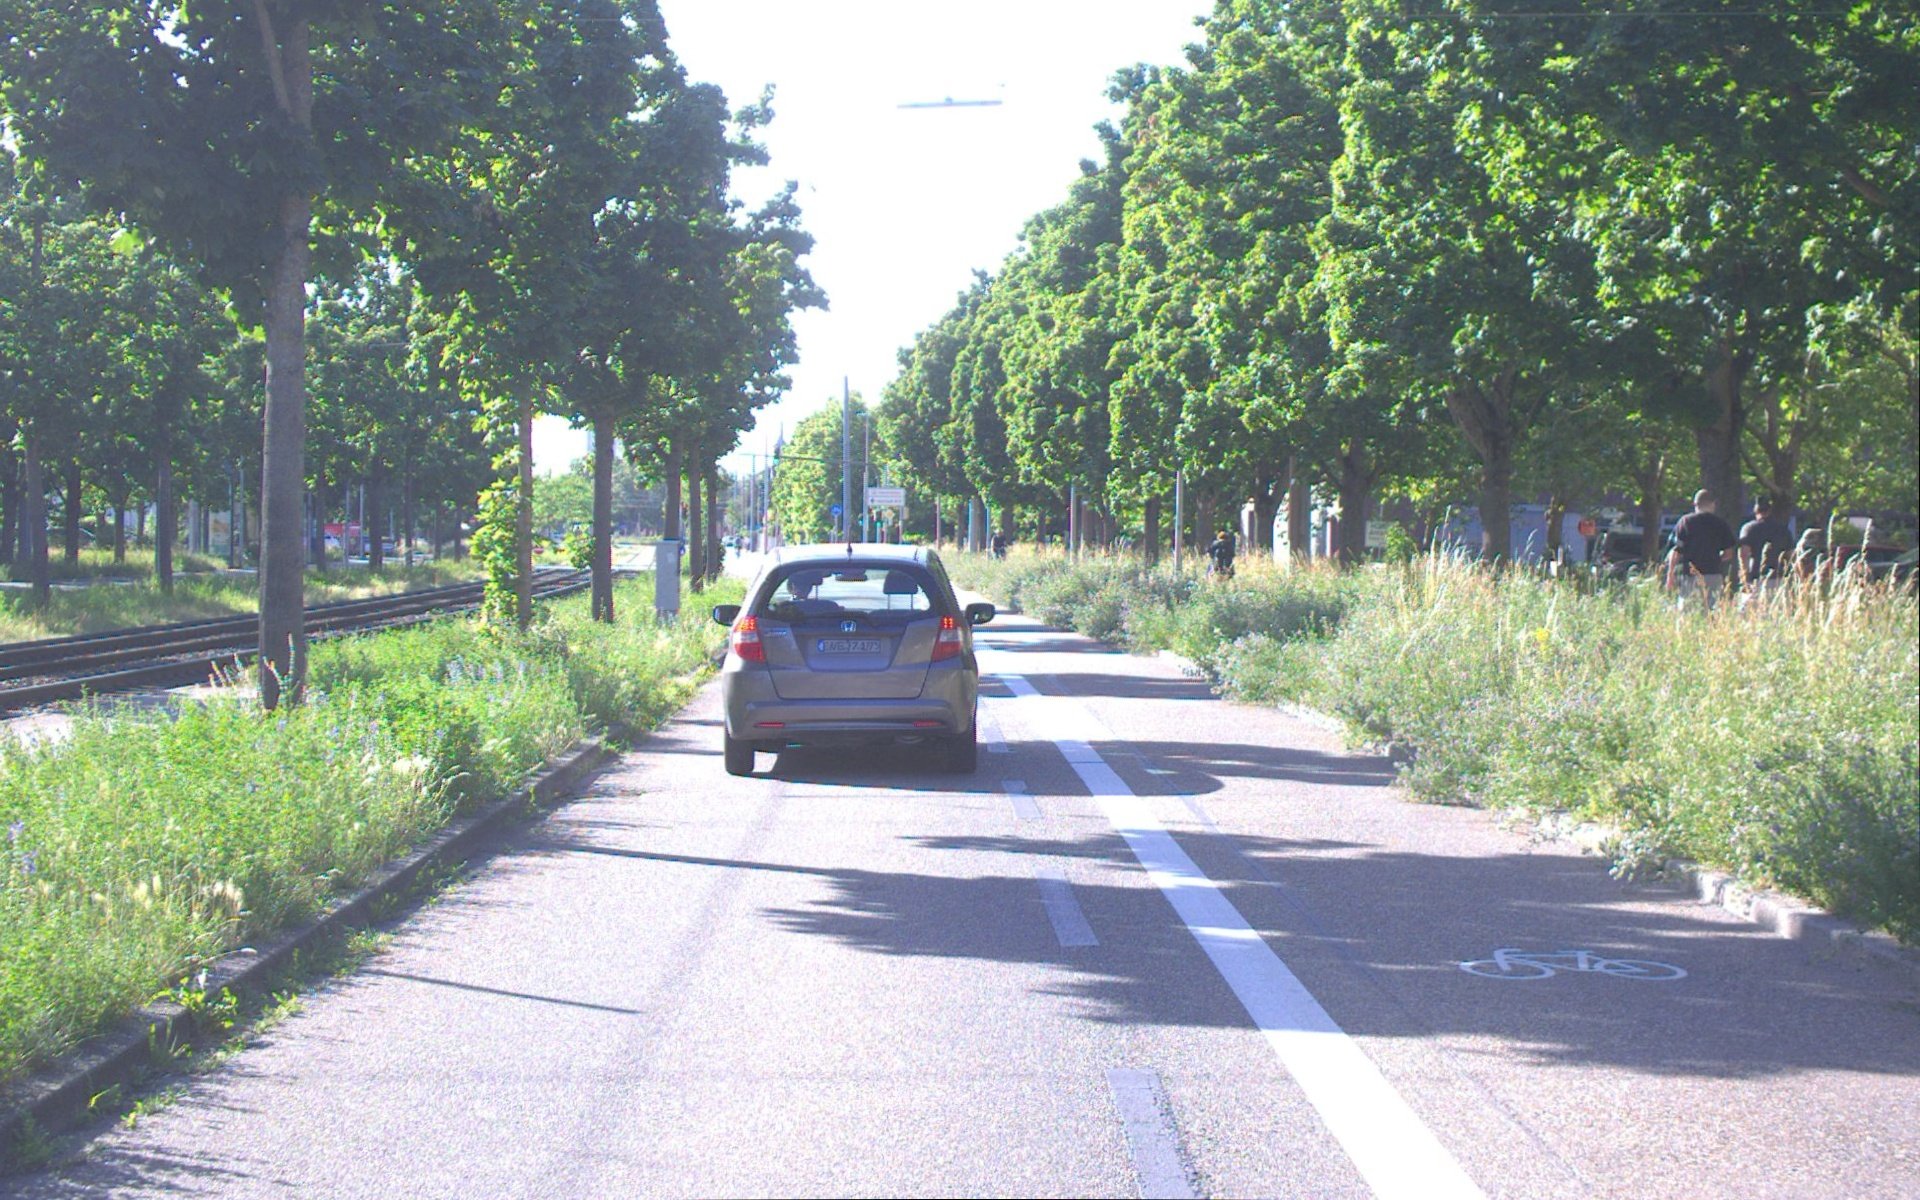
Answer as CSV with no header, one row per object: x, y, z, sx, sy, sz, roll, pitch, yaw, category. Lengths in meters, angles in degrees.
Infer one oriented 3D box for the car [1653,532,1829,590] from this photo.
20.297,-1.024,89.479,4.165,1.427,1.824,1,1,1,car

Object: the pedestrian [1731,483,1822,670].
8.558,-0.246,36.052,0.708,1.924,0.817,1,1,0,pedestrian

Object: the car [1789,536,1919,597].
21.176,-0.769,78.023,4.293,1.319,1.940,0,2,3,car

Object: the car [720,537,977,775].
-0.785,0.325,23.618,1.624,1.494,3.457,-1,1,-3,car

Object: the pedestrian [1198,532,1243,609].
5.383,-0.606,71.098,0.824,1.563,0.762,1,1,-1,pedestrian

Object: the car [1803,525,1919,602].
20.305,-0.768,72.792,4.391,1.591,1.884,1,1,-5,car

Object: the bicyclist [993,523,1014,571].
1.574,-1.927,125.137,0.683,1.714,0.902,1,0,-4,bicyclist

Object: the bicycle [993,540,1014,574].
1.563,-1.556,125.024,0.483,1.200,2.144,1,-1,-7,bicycle

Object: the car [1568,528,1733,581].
19.599,-1.305,97.685,4.356,1.454,1.689,1,1,1,car

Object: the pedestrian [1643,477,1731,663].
7.606,-0.313,36.000,0.708,1.911,0.817,1,1,0,pedestrian
